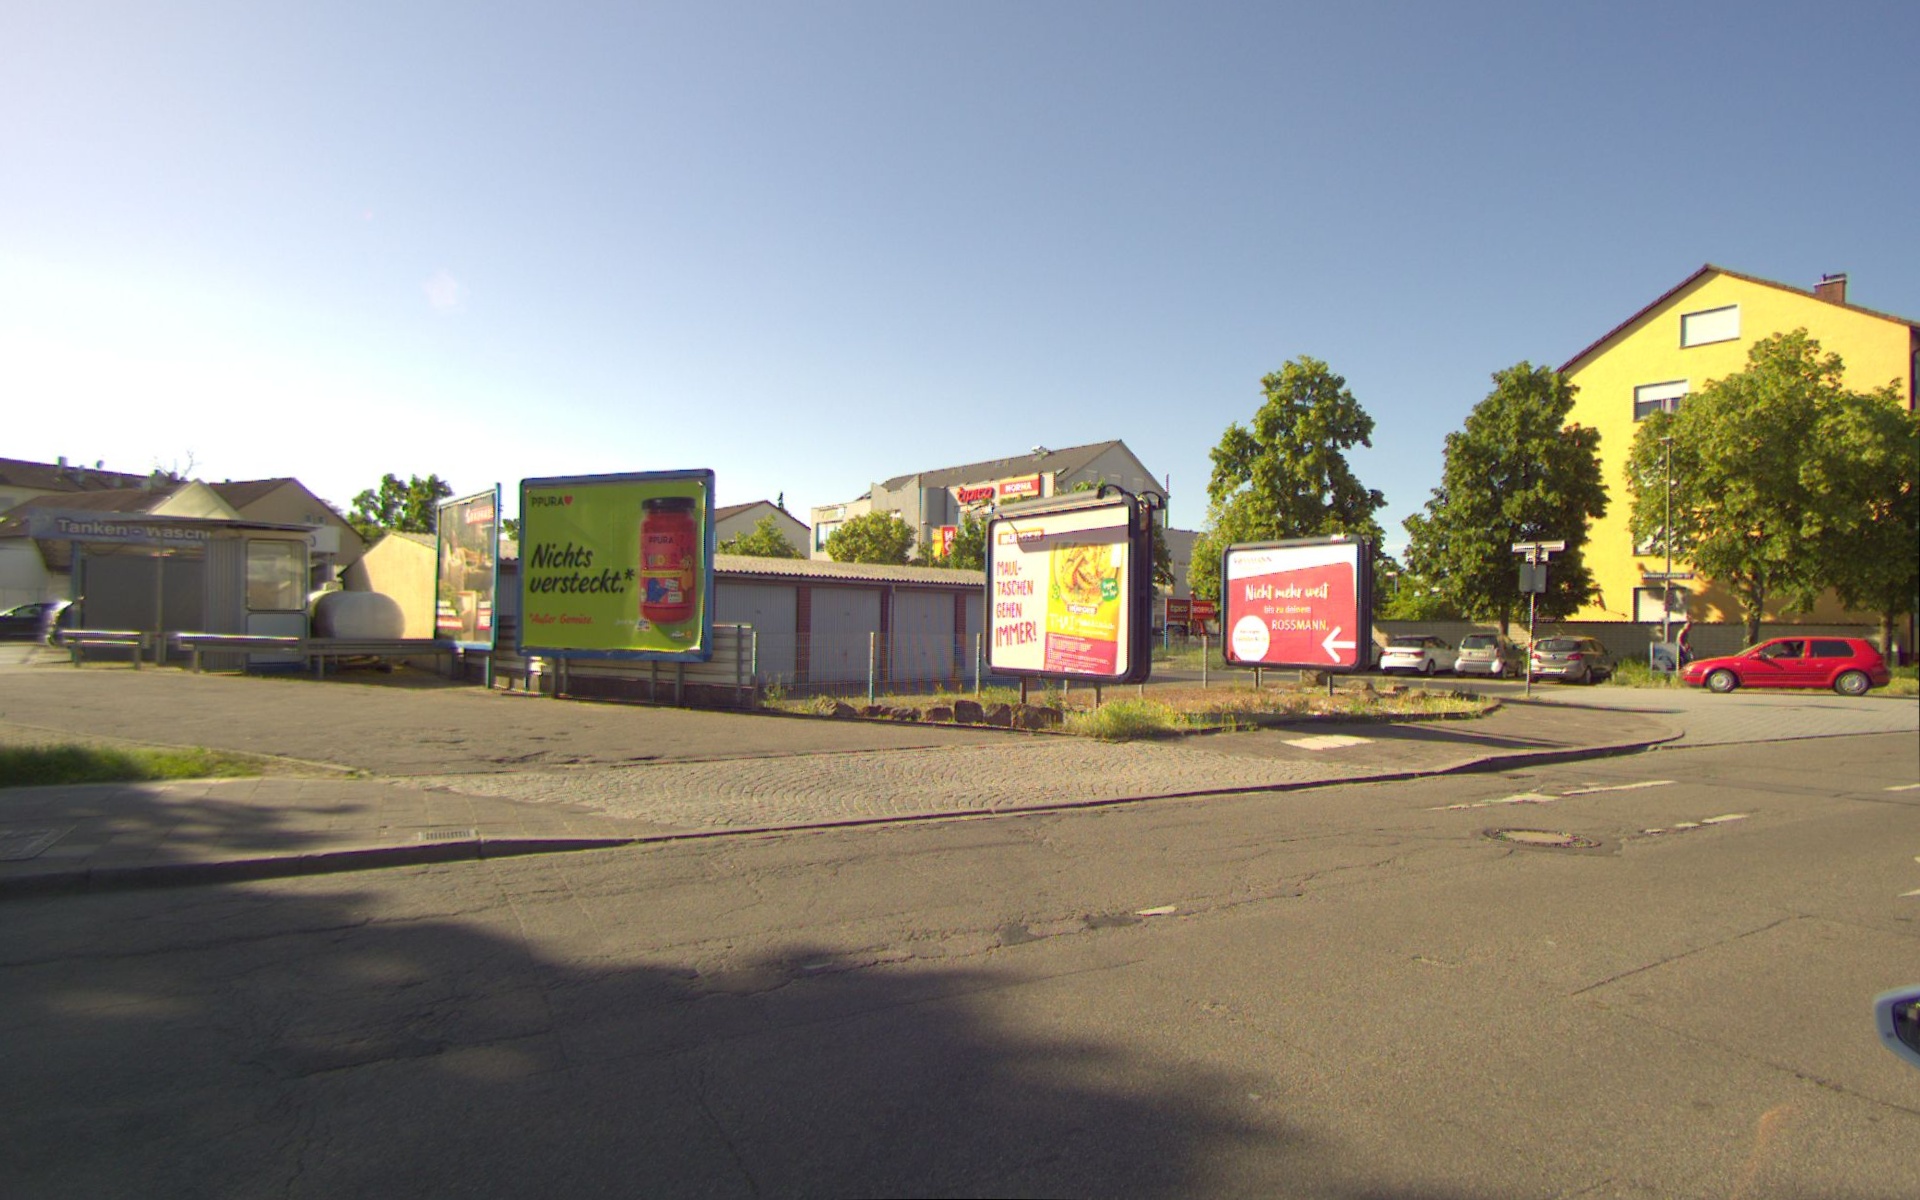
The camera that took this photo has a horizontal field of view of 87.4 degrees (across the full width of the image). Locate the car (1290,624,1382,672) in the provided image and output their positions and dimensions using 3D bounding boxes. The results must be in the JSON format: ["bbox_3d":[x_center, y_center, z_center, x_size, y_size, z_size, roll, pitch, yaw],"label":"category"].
[{"bbox_3d":[14.374,1.776,38.289,3.852,1.702,1.682,1,-1,-42],"label":"car"}]

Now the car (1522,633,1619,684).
[{"bbox_3d":[19.676,1.821,32.320,3.853,1.483,1.713,1,-1,-43],"label":"car"}]

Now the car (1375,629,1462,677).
[{"bbox_3d":[16.675,1.863,36.433,1.680,1.484,3.856,0,1,44],"label":"car"}]

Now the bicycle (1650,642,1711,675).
[{"bbox_3d":[23.959,1.929,33.443,1.593,1.024,0.406,1,-1,29],"label":"bicycle"}]

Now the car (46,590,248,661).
[{"bbox_3d":[-21.465,0.703,26.608,3.973,1.628,1.974,5,-4,-43],"label":"car"}]

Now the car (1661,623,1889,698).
[{"bbox_3d":[20.520,1.466,25.585,4.319,1.589,2.012,2,1,35],"label":"car"}]

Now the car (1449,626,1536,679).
[{"bbox_3d":[18.684,1.795,35.207,1.680,1.643,3.857,0,0,44],"label":"car"}]

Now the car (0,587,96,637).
[{"bbox_3d":[-35.061,0.426,37.565,4.056,1.693,1.566,5,-3,-43],"label":"car"}]

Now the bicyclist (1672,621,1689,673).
[{"bbox_3d":[23.979,1.558,33.439,0.382,1.707,0.382,1,-3,29],"label":"bicyclist"}]
